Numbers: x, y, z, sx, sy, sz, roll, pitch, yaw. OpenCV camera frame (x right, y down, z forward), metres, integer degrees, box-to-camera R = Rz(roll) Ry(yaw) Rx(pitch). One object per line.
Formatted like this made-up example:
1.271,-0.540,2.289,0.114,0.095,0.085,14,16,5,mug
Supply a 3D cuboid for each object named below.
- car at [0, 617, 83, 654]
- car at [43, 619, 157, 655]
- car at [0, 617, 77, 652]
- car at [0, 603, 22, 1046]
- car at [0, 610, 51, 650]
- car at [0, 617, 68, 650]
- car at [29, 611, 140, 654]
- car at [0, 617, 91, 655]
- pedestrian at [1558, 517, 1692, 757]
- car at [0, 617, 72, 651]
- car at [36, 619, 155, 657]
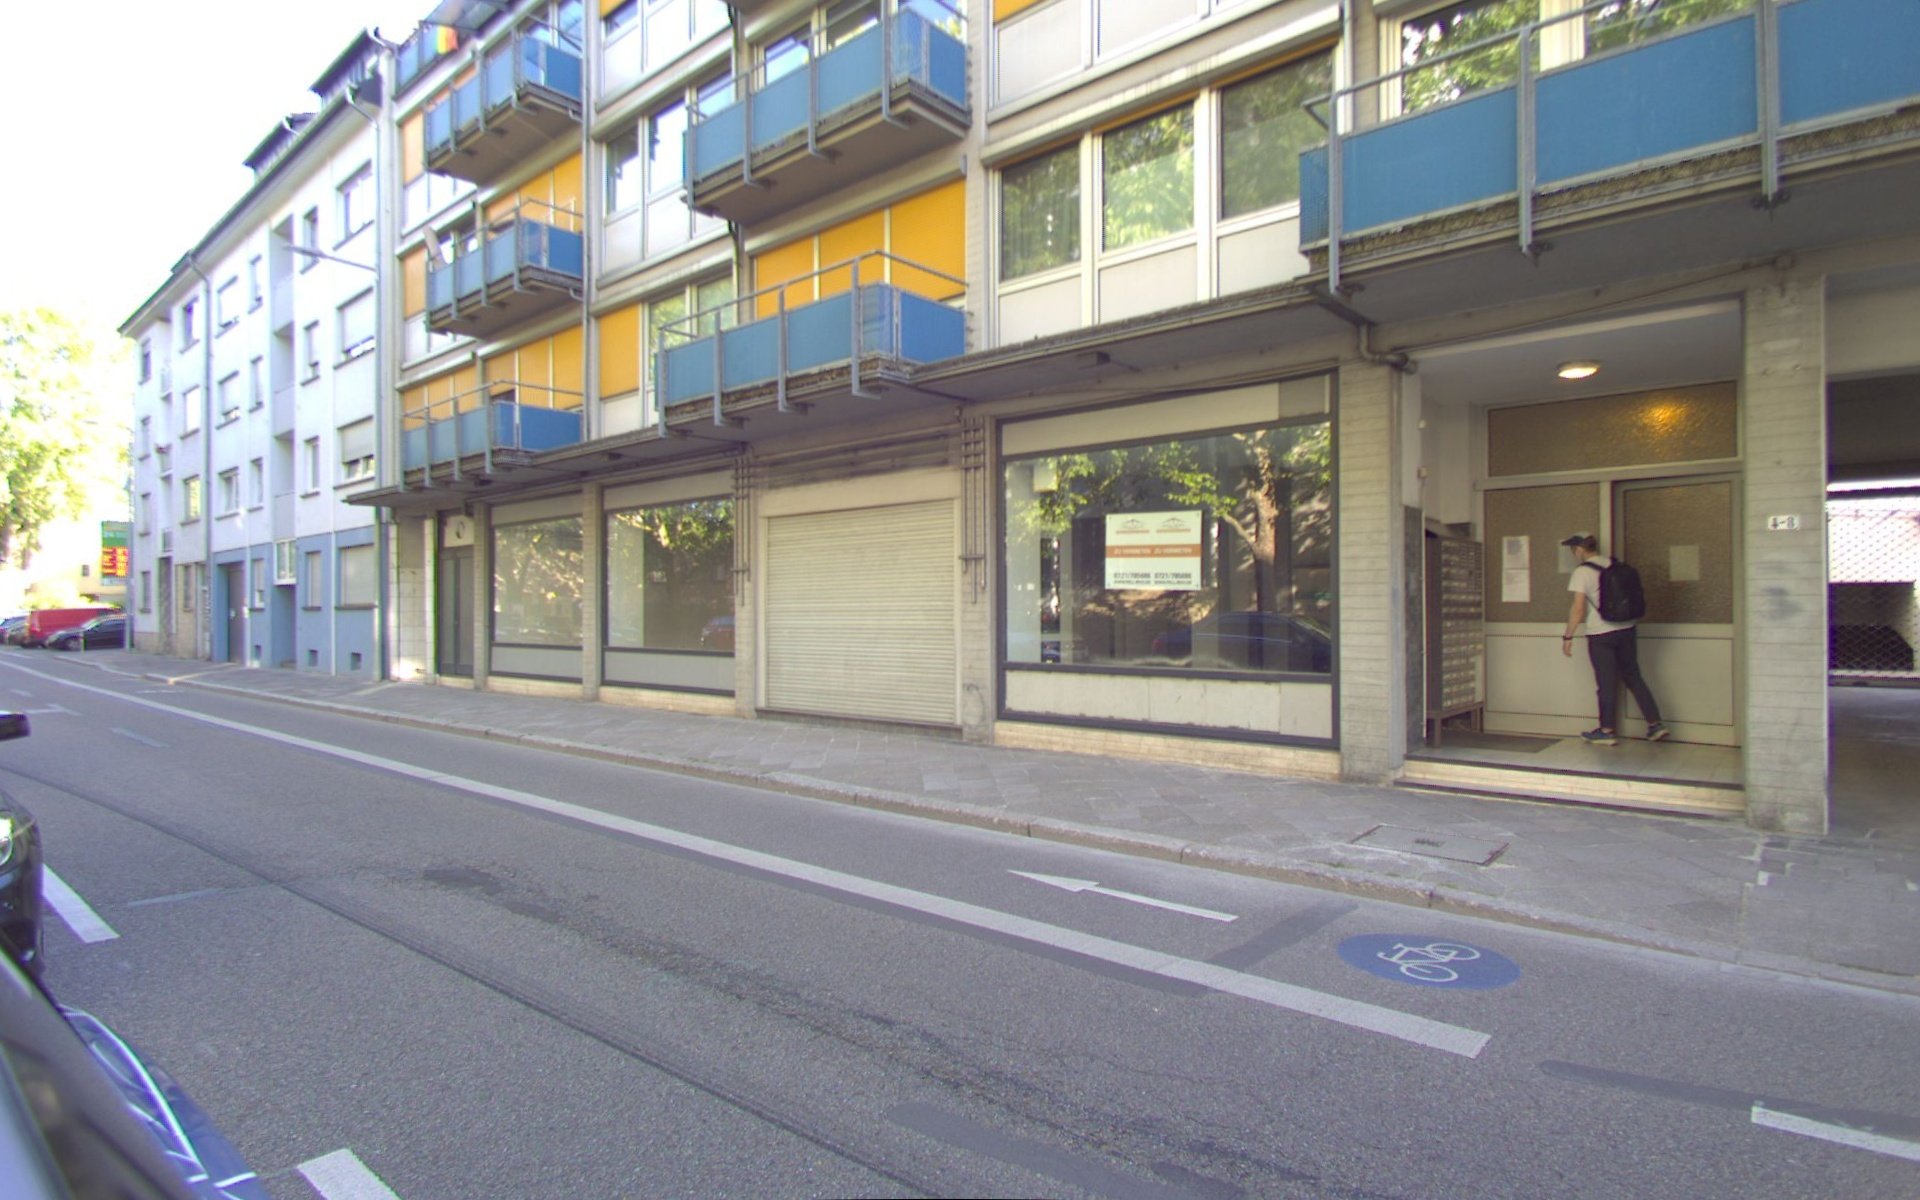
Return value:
-53.525,2.033,58.620,2.000,1.962,3.944,-1,0,42,car
-41.180,1.740,48.534,2.000,1.564,3.944,-1,0,42,car
-55.606,2.060,60.573,2.000,1.962,3.944,-1,0,42,car
-5.529,0.806,4.285,4.479,1.512,1.842,-1,-1,41,car
-62.802,1.953,66.793,2.000,2.538,3.944,-1,0,42,car
-59.211,2.106,64.024,2.000,1.962,3.944,-1,0,42,car
-43.435,1.570,50.259,2.000,1.962,3.944,-1,0,42,car
-51.574,2.008,56.837,2.000,1.962,3.944,-1,0,42,car
5.544,0.291,8.444,0.572,1.894,0.788,-1,0,-40,pedestrian
-57.411,2.083,62.291,2.000,1.962,3.944,-1,0,42,car
-39.761,1.722,46.612,2.000,1.564,3.944,-1,0,42,car
